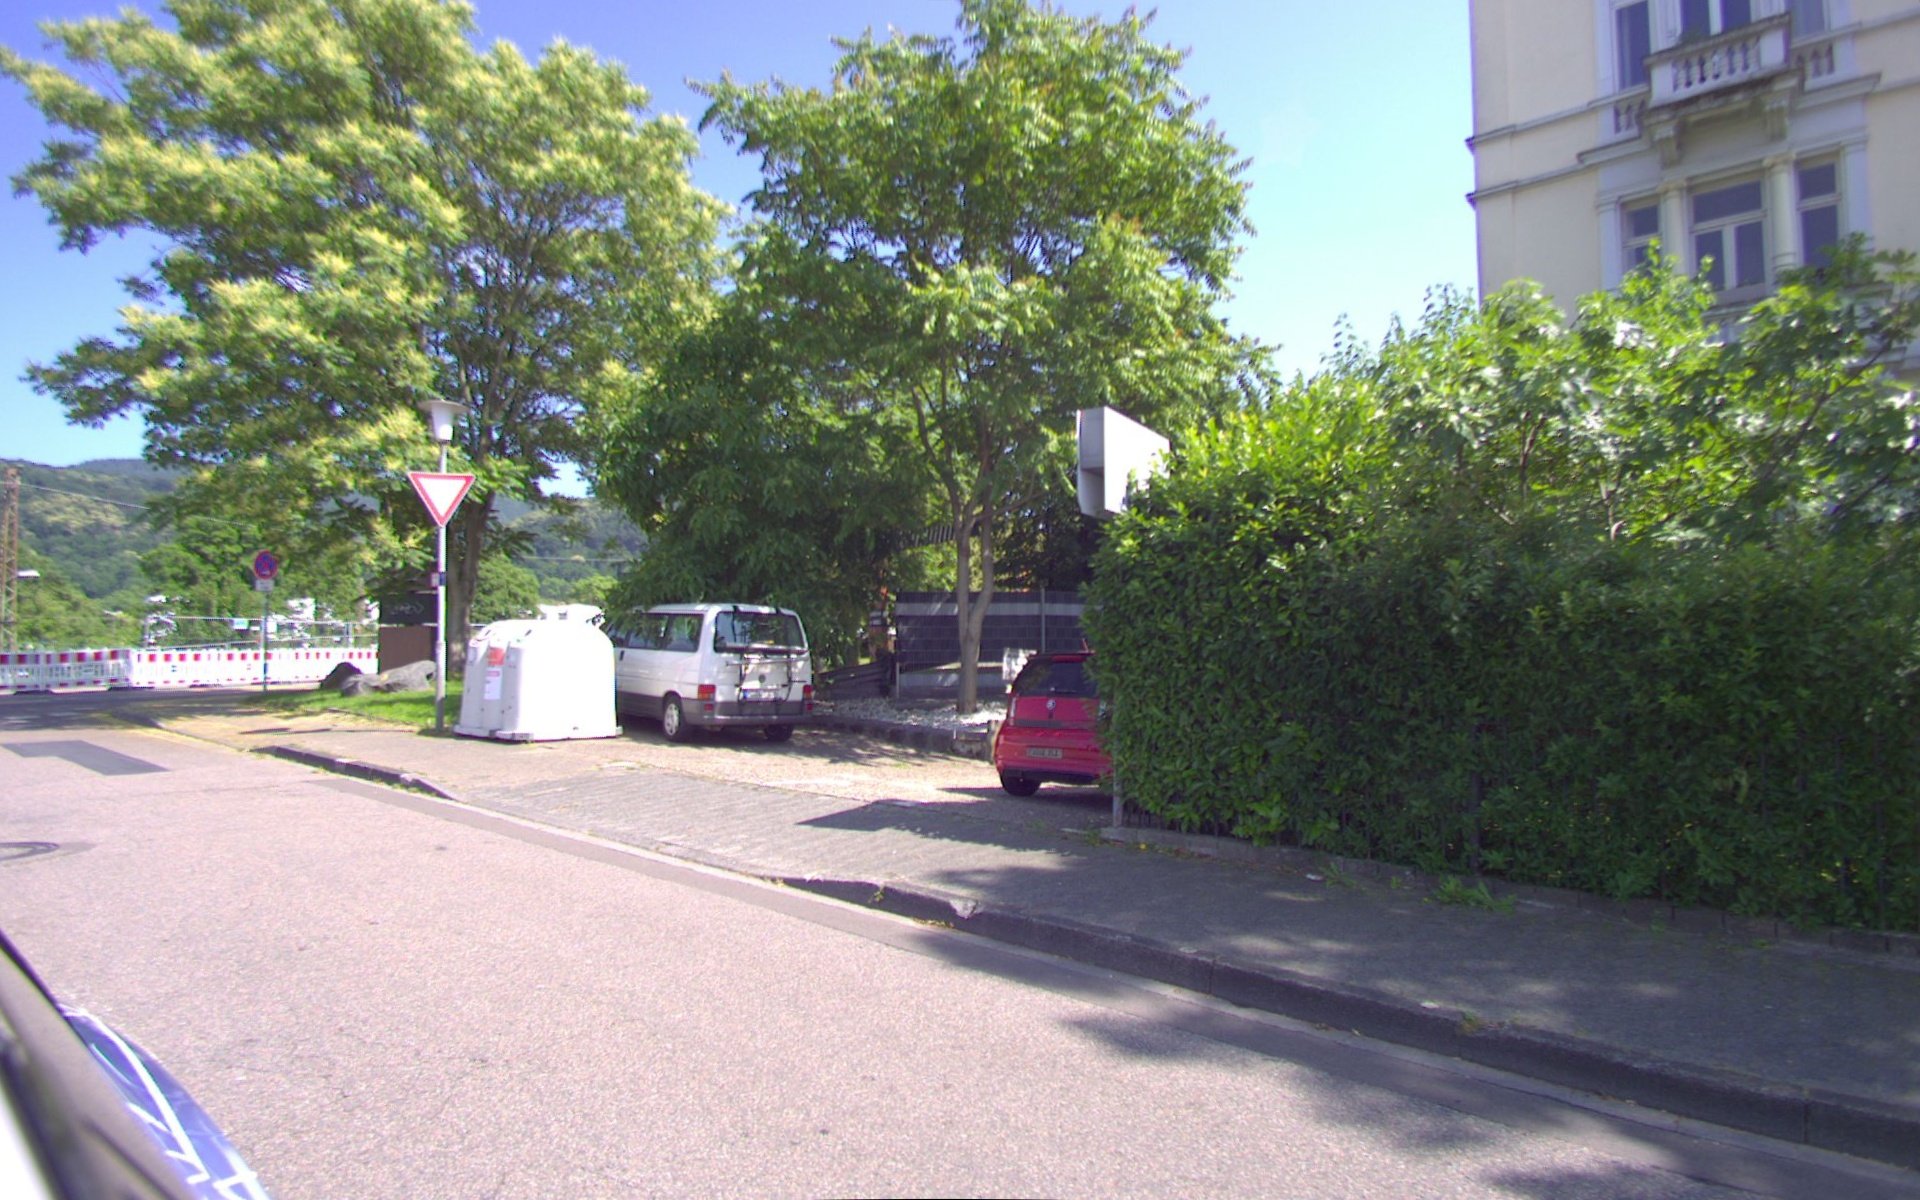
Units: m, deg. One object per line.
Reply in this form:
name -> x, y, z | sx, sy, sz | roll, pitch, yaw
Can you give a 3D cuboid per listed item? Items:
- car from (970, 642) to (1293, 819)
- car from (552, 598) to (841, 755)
car -> 1.866, 1.290, 10.314 | 1.650, 1.477, 3.375 | -2, -8, 43
car -> -4.105, 1.022, 15.113 | 1.969, 1.946, 5.107 | 5, -4, -42
